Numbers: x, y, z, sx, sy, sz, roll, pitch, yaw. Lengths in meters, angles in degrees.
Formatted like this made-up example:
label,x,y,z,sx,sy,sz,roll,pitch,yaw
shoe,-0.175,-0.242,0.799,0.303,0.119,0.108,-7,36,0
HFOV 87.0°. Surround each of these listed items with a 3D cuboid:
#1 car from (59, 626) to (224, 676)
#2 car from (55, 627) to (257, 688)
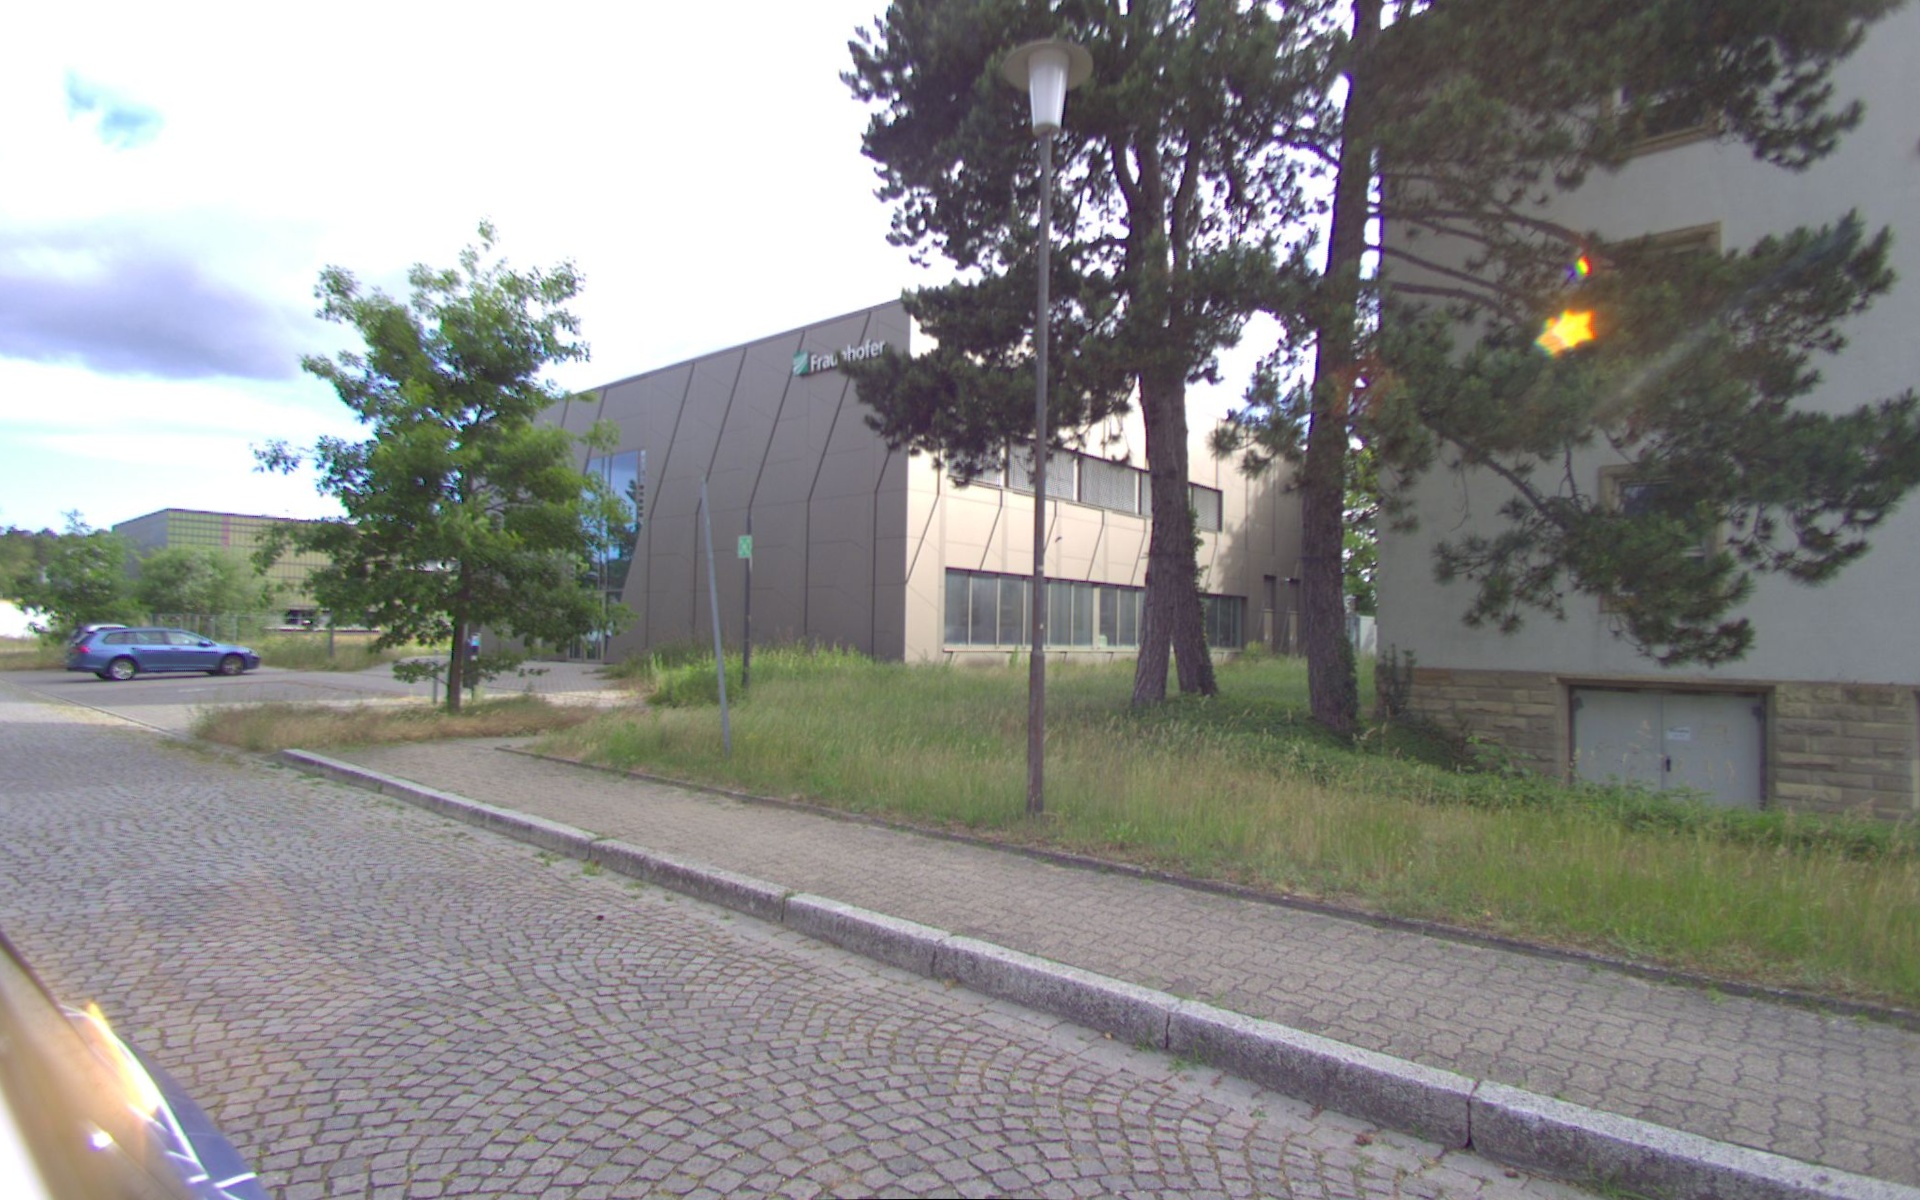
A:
label,x,y,z,sx,sy,sz,roll,pitch,yaw
car,-28.186,1.703,34.942,4.339,1.558,1.843,0,-1,-43
car,-23.272,1.608,29.438,1.715,1.522,4.350,-1,-1,38
